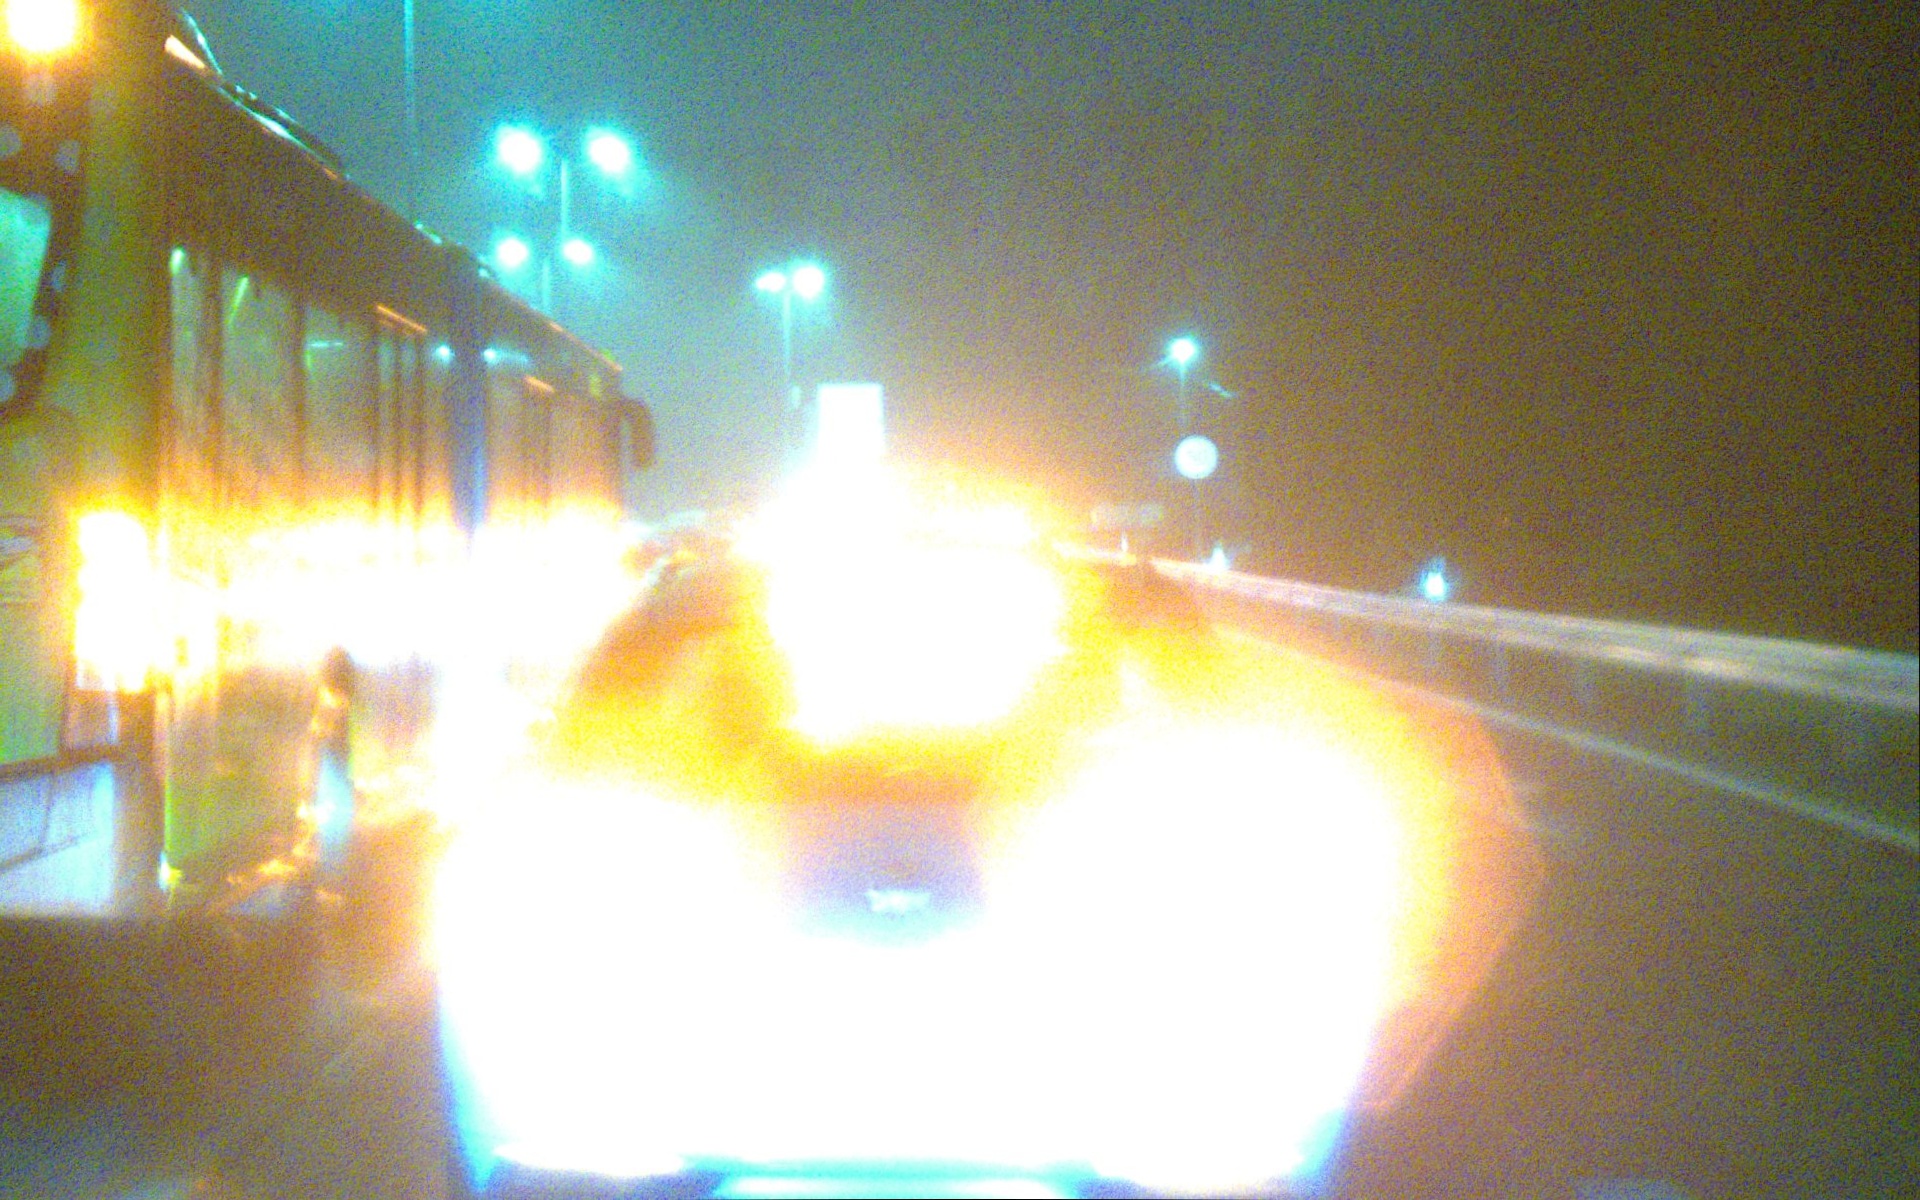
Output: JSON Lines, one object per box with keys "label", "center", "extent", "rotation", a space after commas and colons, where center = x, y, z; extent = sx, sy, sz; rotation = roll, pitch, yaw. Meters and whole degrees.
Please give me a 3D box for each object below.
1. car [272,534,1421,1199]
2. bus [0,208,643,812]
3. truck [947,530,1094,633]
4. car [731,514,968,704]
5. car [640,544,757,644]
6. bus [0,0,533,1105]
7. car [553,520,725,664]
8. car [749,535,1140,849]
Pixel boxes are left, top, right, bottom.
{"label": "car", "center": [-0.152, 0.615, 7.700], "extent": [1.944, 1.486, 3.716], "rotation": [1, 1, 1]}
{"label": "bus", "center": [-3.783, -0.577, 22.532], "extent": [2.743, 3.112, 8.704], "rotation": [2, 1, -2]}
{"label": "truck", "center": [1.655, -0.456, 90.185], "extent": [3.070, 2.520, 7.164], "rotation": [2, 0, 7]}
{"label": "car", "center": [-0.874, 0.046, 28.434], "extent": [1.822, 1.456, 3.716], "rotation": [1, 1, -1]}
{"label": "car", "center": [-4.118, -0.087, 54.549], "extent": [1.557, 1.481, 3.809], "rotation": [2, 0, -1]}
{"label": "bus", "center": [-3.557, -0.382, 13.575], "extent": [2.743, 3.112, 9.202], "rotation": [2, 1, -2]}
{"label": "car", "center": [-3.535, -0.087, 38.391], "extent": [1.557, 1.481, 3.809], "rotation": [2, 0, -1]}
{"label": "car", "center": [-0.092, 0.408, 18.001], "extent": [1.822, 1.456, 3.716], "rotation": [1, 1, -1]}
